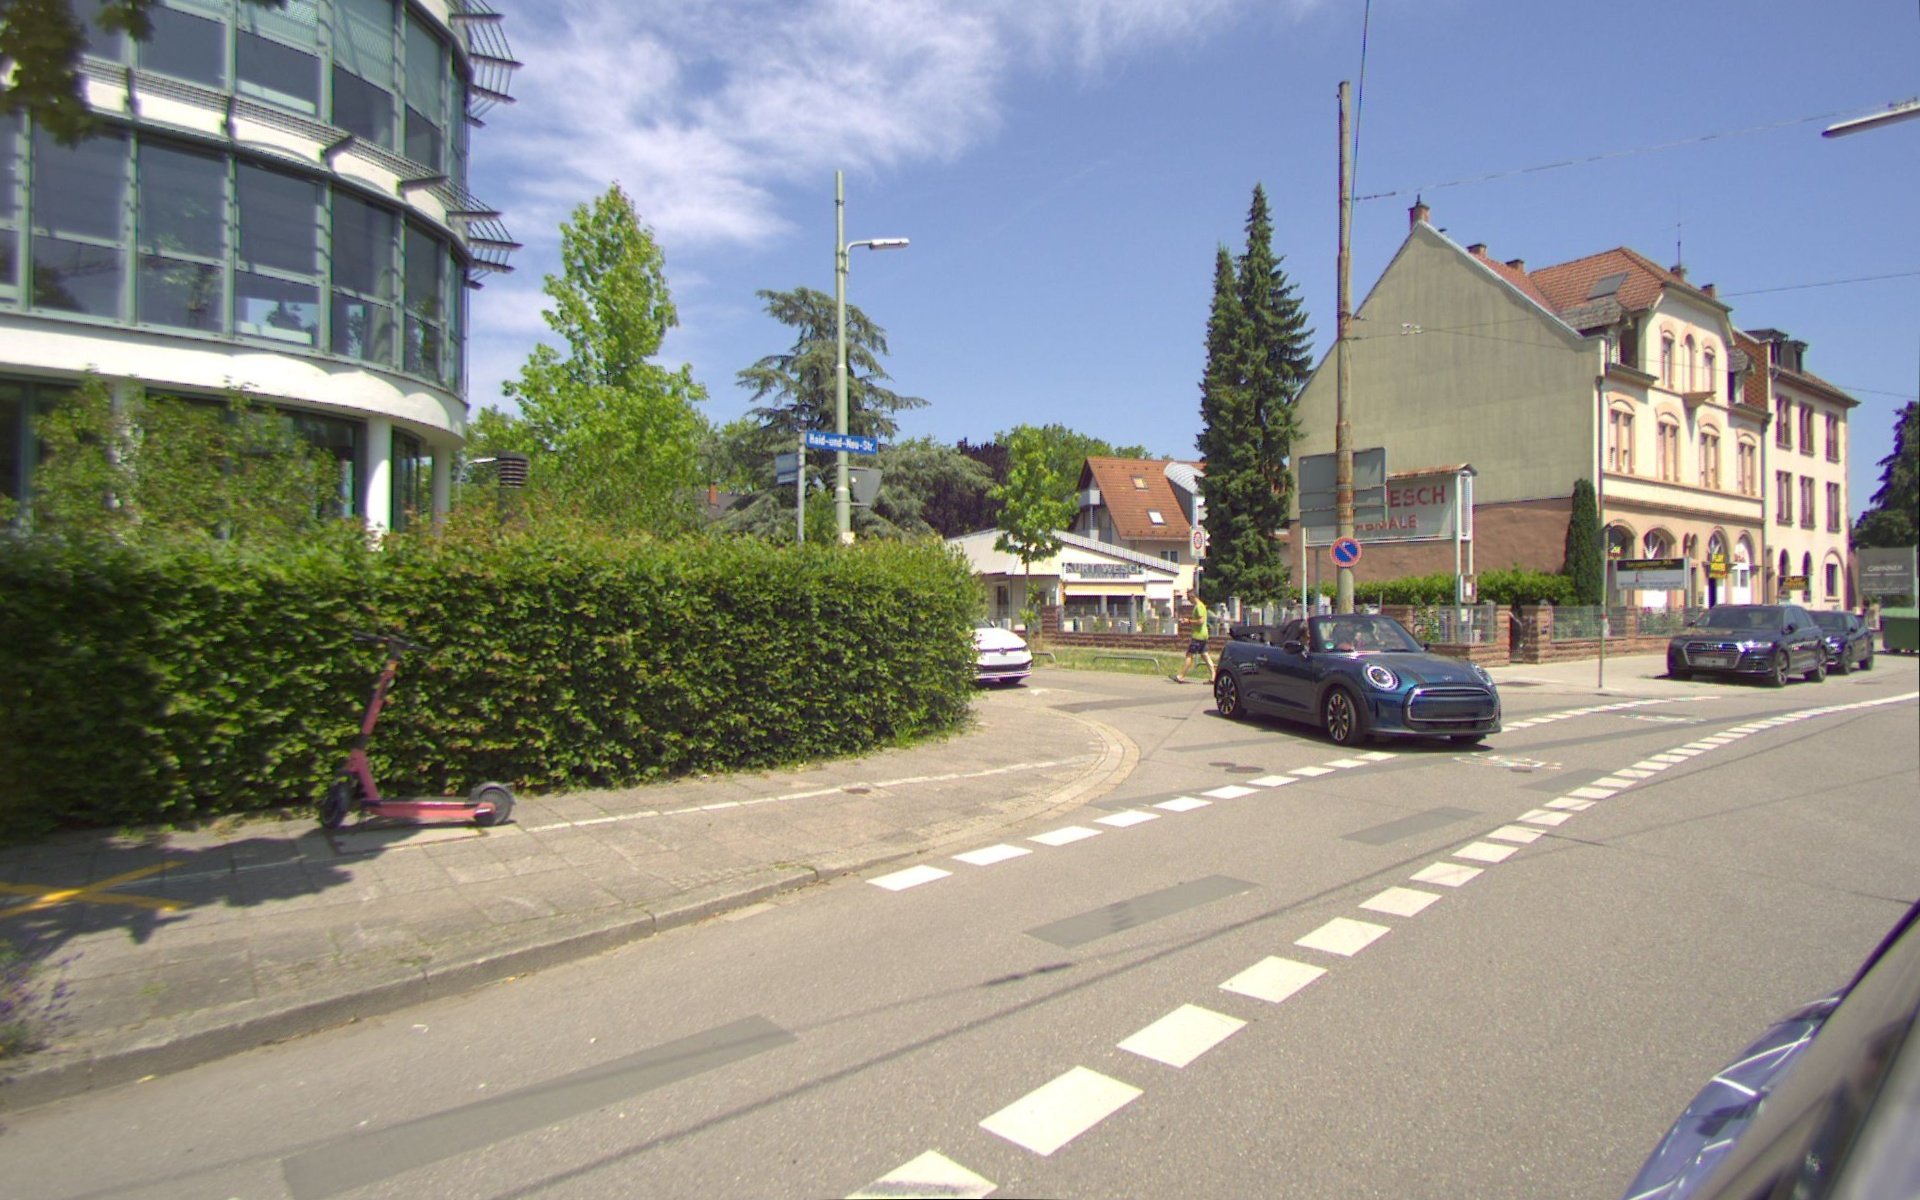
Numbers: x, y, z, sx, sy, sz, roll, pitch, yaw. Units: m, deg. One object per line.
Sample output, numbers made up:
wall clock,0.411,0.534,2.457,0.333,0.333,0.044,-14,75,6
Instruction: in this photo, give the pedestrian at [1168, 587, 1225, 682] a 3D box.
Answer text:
pedestrian,4.335,0.615,18.530,0.833,1.688,0.726,-1,-2,31

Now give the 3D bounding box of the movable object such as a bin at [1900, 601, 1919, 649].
movable object such as a bin,30.663,0.796,31.994,1.039,1.473,1.249,0,1,-41

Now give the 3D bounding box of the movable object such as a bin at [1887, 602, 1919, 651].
movable object such as a bin,29.760,0.810,31.423,1.039,1.473,1.326,0,1,-41

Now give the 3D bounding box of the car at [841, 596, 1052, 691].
car,-0.368,0.690,18.109,1.783,1.478,4.162,0,0,-34

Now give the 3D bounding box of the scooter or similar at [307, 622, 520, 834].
scooter or similar,-3.384,0.770,6.338,1.127,1.238,0.327,0,-2,-17

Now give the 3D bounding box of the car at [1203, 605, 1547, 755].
car,4.525,0.770,11.743,1.668,1.389,3.934,0,0,-14

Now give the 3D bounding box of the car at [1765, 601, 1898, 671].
car,22.469,0.859,26.046,4.386,1.567,1.777,-1,1,-38

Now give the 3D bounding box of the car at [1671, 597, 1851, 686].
car,17.609,0.809,22.164,4.988,1.714,1.930,0,1,-37

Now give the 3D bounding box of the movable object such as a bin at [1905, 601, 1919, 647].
movable object such as a bin,31.523,0.796,32.650,1.119,1.473,1.394,0,1,-41
